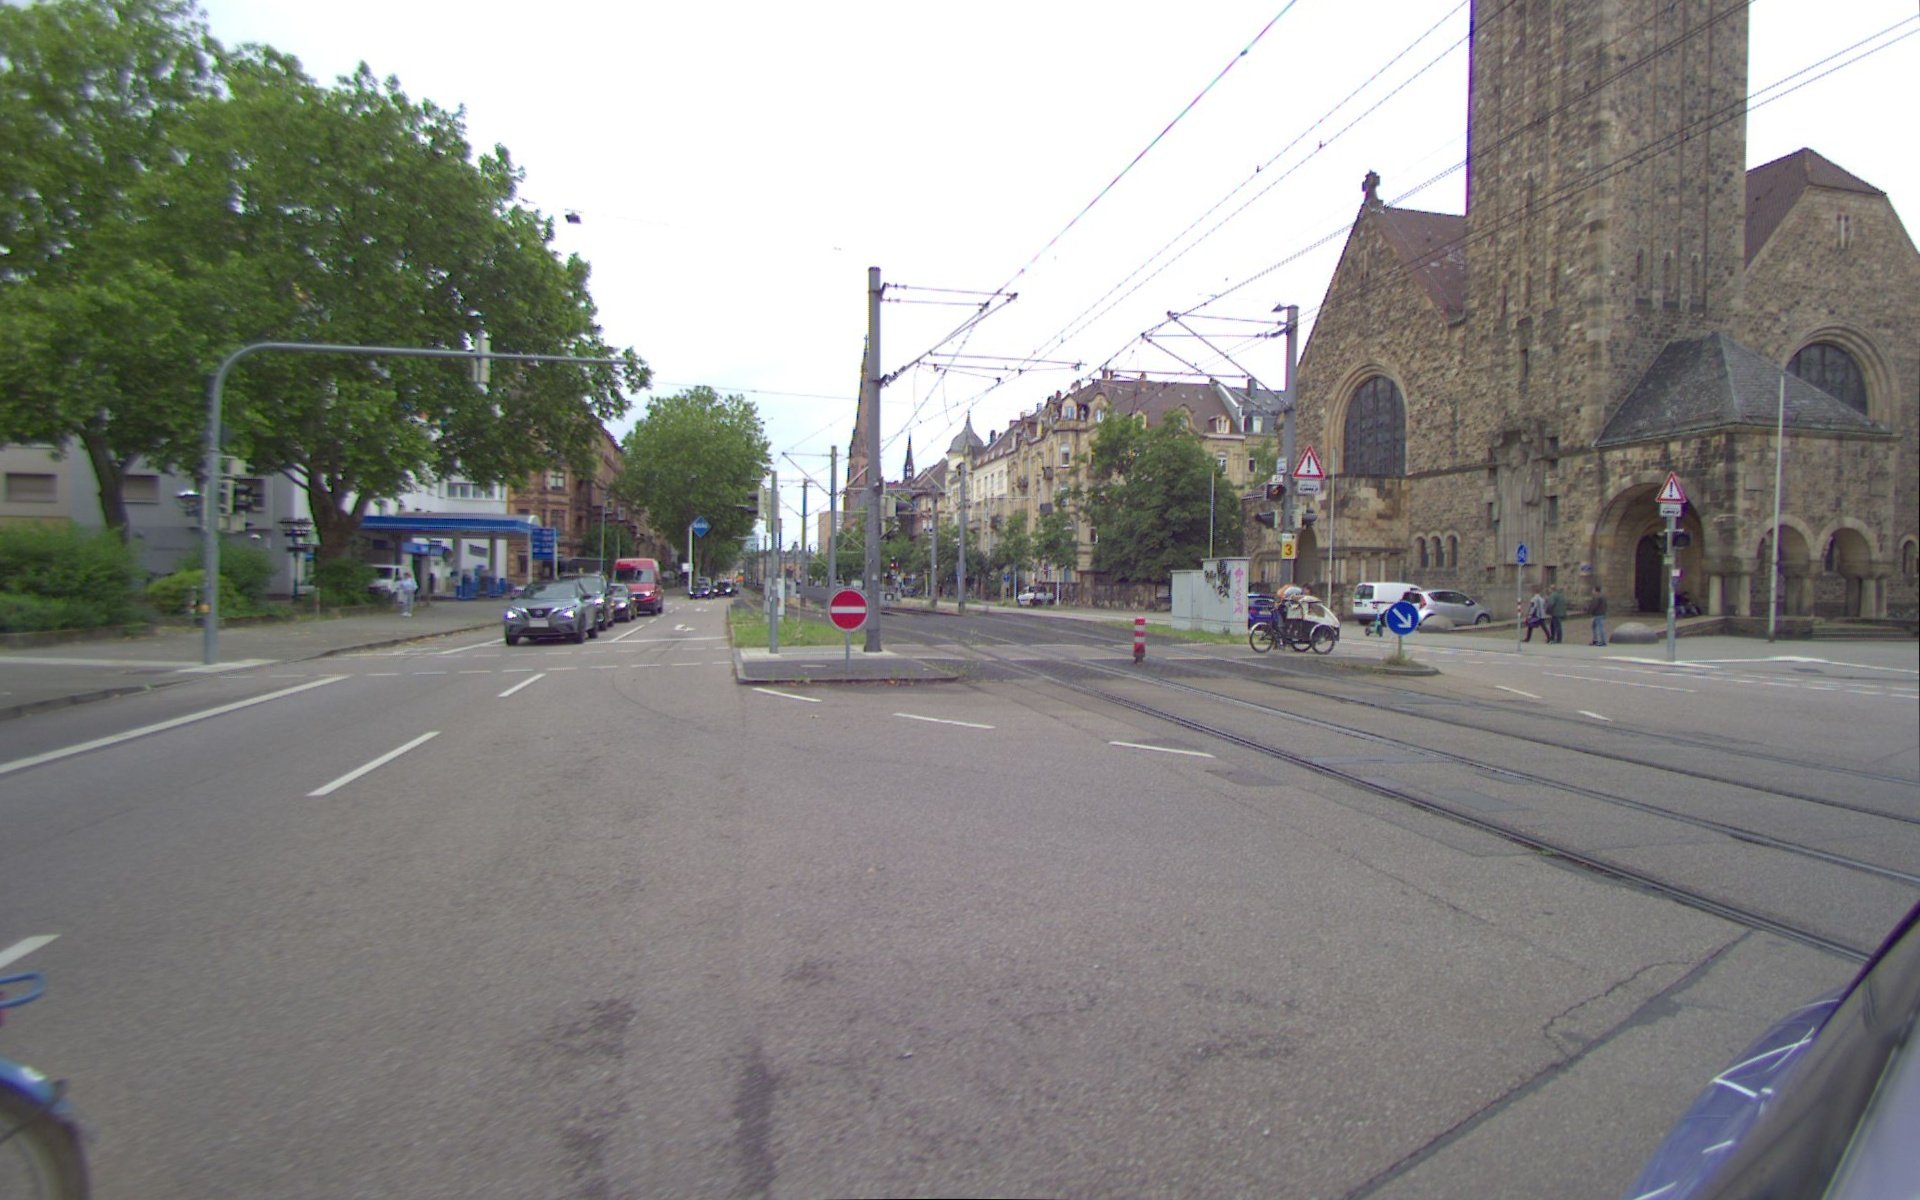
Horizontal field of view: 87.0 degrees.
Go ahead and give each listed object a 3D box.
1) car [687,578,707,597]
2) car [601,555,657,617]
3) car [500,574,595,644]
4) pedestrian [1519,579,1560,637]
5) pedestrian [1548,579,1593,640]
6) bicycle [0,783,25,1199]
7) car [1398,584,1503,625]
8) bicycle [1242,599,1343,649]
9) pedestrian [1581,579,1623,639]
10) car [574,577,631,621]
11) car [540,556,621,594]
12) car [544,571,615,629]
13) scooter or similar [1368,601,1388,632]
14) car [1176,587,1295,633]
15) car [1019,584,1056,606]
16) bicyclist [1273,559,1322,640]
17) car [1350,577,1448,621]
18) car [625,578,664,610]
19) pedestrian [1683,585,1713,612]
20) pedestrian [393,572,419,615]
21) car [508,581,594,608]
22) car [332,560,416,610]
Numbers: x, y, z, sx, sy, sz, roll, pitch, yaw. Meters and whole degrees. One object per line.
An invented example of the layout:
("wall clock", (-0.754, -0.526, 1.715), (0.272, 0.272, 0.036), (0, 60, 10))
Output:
("car", (-22.804, -1.093, 87.754), (1.652, 1.549, 3.475), (0, 1, -14))
("car", (-14.662, -0.671, 45.090), (1.951, 2.570, 5.623), (0, 1, -14))
("car", (-10.264, 0.159, 25.413), (1.652, 1.581, 3.998), (0, 1, -14))
("pedestrian", (17.581, 0.234, 30.704), (0.950, 1.693, 0.636), (1, 3, -30))
("pedestrian", (18.646, 0.275, 30.917), (0.951, 1.780, 0.807), (0, 3, -37))
("bicycle", (-2.474, 0.951, 1.110), (2.102, 1.112, 0.494), (-2, 2, -42))
("car", (19.171, 0.155, 39.610), (3.395, 1.549, 1.621), (0, 1, -11))
("bicycle", (6.985, 0.498, 21.235), (2.017, 1.008, 0.554), (0, 1, -14))
("pedestrian", (18.872, 0.265, 29.742), (0.951, 1.706, 0.676), (0, 3, -37))
("car", (-13.342, -0.074, 37.899), (1.652, 1.581, 3.475), (0, 1, -14))
("car", (-28.992, -1.911, 77.690), (2.214, 2.762, 7.075), (0, 1, 15))
("car", (-12.044, -0.063, 32.244), (1.652, 1.732, 3.958), (0, 1, -14))
("scooter or similar", (14.583, 0.569, 35.327), (0.235, 1.066, 0.774), (0, 1, -11))
("car", (9.339, 0.287, 34.716), (1.783, 1.423, 4.329), (0, 1, -19))
("car", (5.491, -0.378, 72.309), (1.652, 1.549, 3.475), (0, 1, -14))
("bicyclist", (7.086, -0.010, 21.261), (0.738, 1.674, 0.617), (0, 1, -15))
("car", (18.605, -0.041, 42.959), (3.395, 1.815, 1.690), (0, 1, -11))
("car", (-16.120, -0.328, 51.791), (1.652, 1.549, 4.159), (0, 1, -14))
("pedestrian", (27.793, -0.058, 38.113), (0.602, 0.963, 0.675), (1, 1, -15))
("pedestrian", (-20.495, -0.253, 37.451), (0.695, 1.590, 0.573), (0, 1, -13))
("car", (-21.594, -0.322, 53.580), (4.012, 1.390, 1.738), (0, 1, -13))
("car", (-26.447, -0.700, 45.866), (1.951, 2.122, 5.099), (0, 1, -14))
